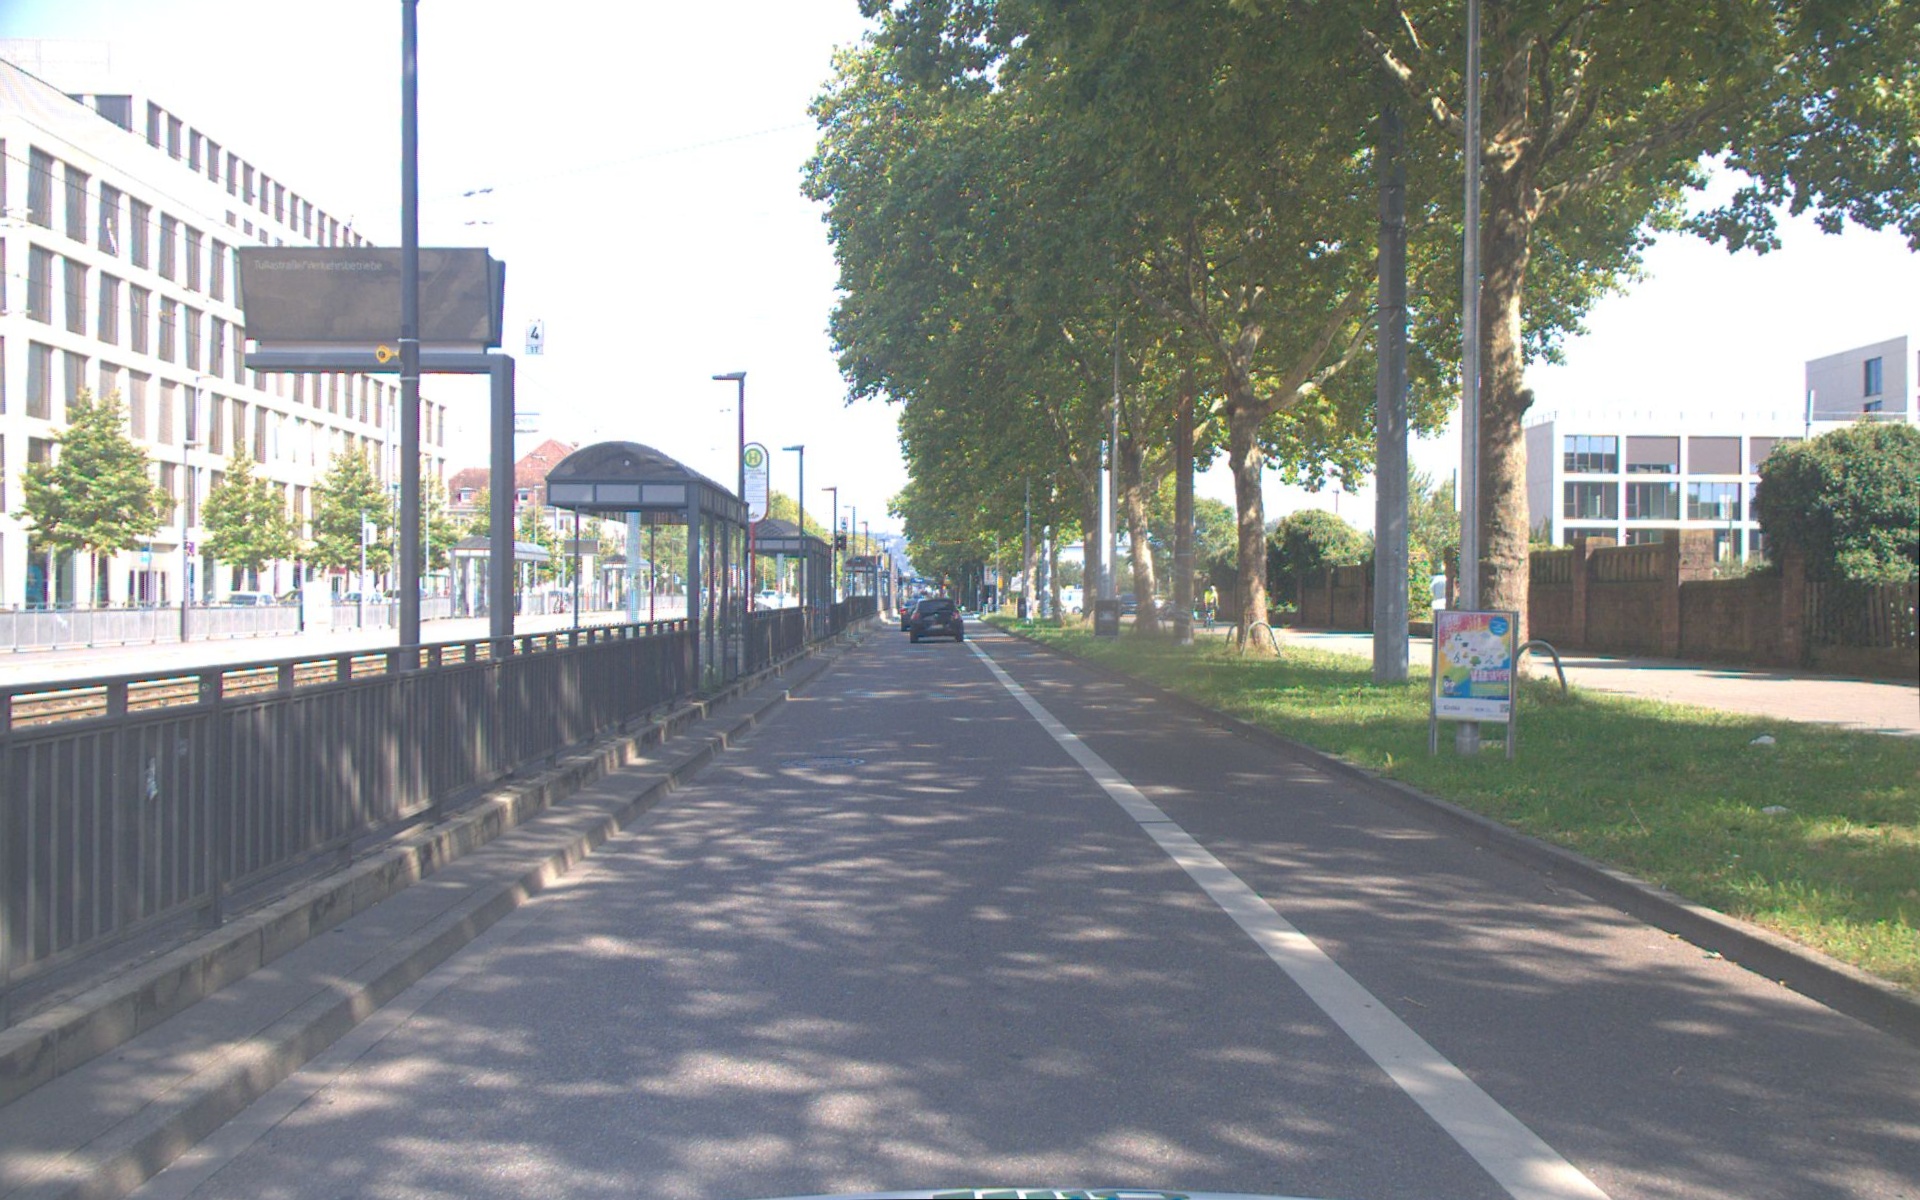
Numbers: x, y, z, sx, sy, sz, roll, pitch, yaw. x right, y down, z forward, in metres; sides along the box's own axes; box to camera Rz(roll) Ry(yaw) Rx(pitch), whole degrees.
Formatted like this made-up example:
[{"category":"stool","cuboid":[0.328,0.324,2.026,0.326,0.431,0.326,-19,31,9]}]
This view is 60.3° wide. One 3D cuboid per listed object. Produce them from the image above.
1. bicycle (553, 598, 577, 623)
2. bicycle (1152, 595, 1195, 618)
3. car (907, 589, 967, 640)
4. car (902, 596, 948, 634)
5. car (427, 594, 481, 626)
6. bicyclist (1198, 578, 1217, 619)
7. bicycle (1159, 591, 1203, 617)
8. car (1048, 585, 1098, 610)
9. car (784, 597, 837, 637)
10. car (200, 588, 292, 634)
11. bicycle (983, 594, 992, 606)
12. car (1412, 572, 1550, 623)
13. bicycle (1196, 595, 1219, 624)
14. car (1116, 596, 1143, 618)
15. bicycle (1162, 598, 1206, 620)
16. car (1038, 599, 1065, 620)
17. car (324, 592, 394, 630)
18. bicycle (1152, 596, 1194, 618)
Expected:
[{"category":"bicycle","cuboid":[-18.834,0.509,78.875,0.461,1.167,1.485,0,0,13]},{"category":"bicycle","cuboid":[11.206,0.353,86.908,2.128,1.095,0.743,-2,0,2]},{"category":"car","cuboid":[-0.788,0.447,54.460,1.869,1.564,3.998,-2,0,-2]},{"category":"car","cuboid":[-1.612,0.662,74.378,1.934,1.564,3.998,-4,0,-2]},{"category":"car","cuboid":[-27.023,0.534,88.417,1.728,1.631,4.130,-1,0,-3]},{"category":"bicyclist","cuboid":[9.013,-0.048,60.177,0.537,1.478,0.842,0,0,-1]},{"category":"bicycle","cuboid":[11.924,0.241,89.242,2.199,1.299,0.998,-2,-1,-2]},{"category":"car","cuboid":[9.380,-0.233,137.144,4.018,1.952,1.848,-2,0,1]},{"category":"car","cuboid":[-6.663,0.740,74.224,1.954,1.586,3.999,-5,0,-1]},{"category":"car","cuboid":[-26.226,0.393,60.864,1.728,1.602,4.130,-1,0,-3]},{"category":"bicycle","cuboid":[2.517,-0.005,152.652,0.598,1.039,2.400,0,0,-5]},{"category":"car","cuboid":[19.016,-0.098,60.478,4.431,1.764,1.908,-1,0,-4]},{"category":"bicycle","cuboid":[9.009,0.336,60.283,0.537,1.024,1.713,0,0,-1]},{"category":"car","cuboid":[12.796,0.489,125.087,1.575,1.603,3.795,-1,0,-1]},{"category":"bicycle","cuboid":[11.444,0.450,84.703,2.130,1.095,0.743,0,0,-3]},{"category":"car","cuboid":[6.845,0.688,123.736,1.693,1.474,4.550,-1,0,-1]},{"category":"car","cuboid":[-26.825,0.474,73.938,1.728,1.602,4.130,-1,0,-3]},{"category":"bicycle","cuboid":[11.281,0.370,87.726,2.128,1.095,0.743,-3,0,2]}]
